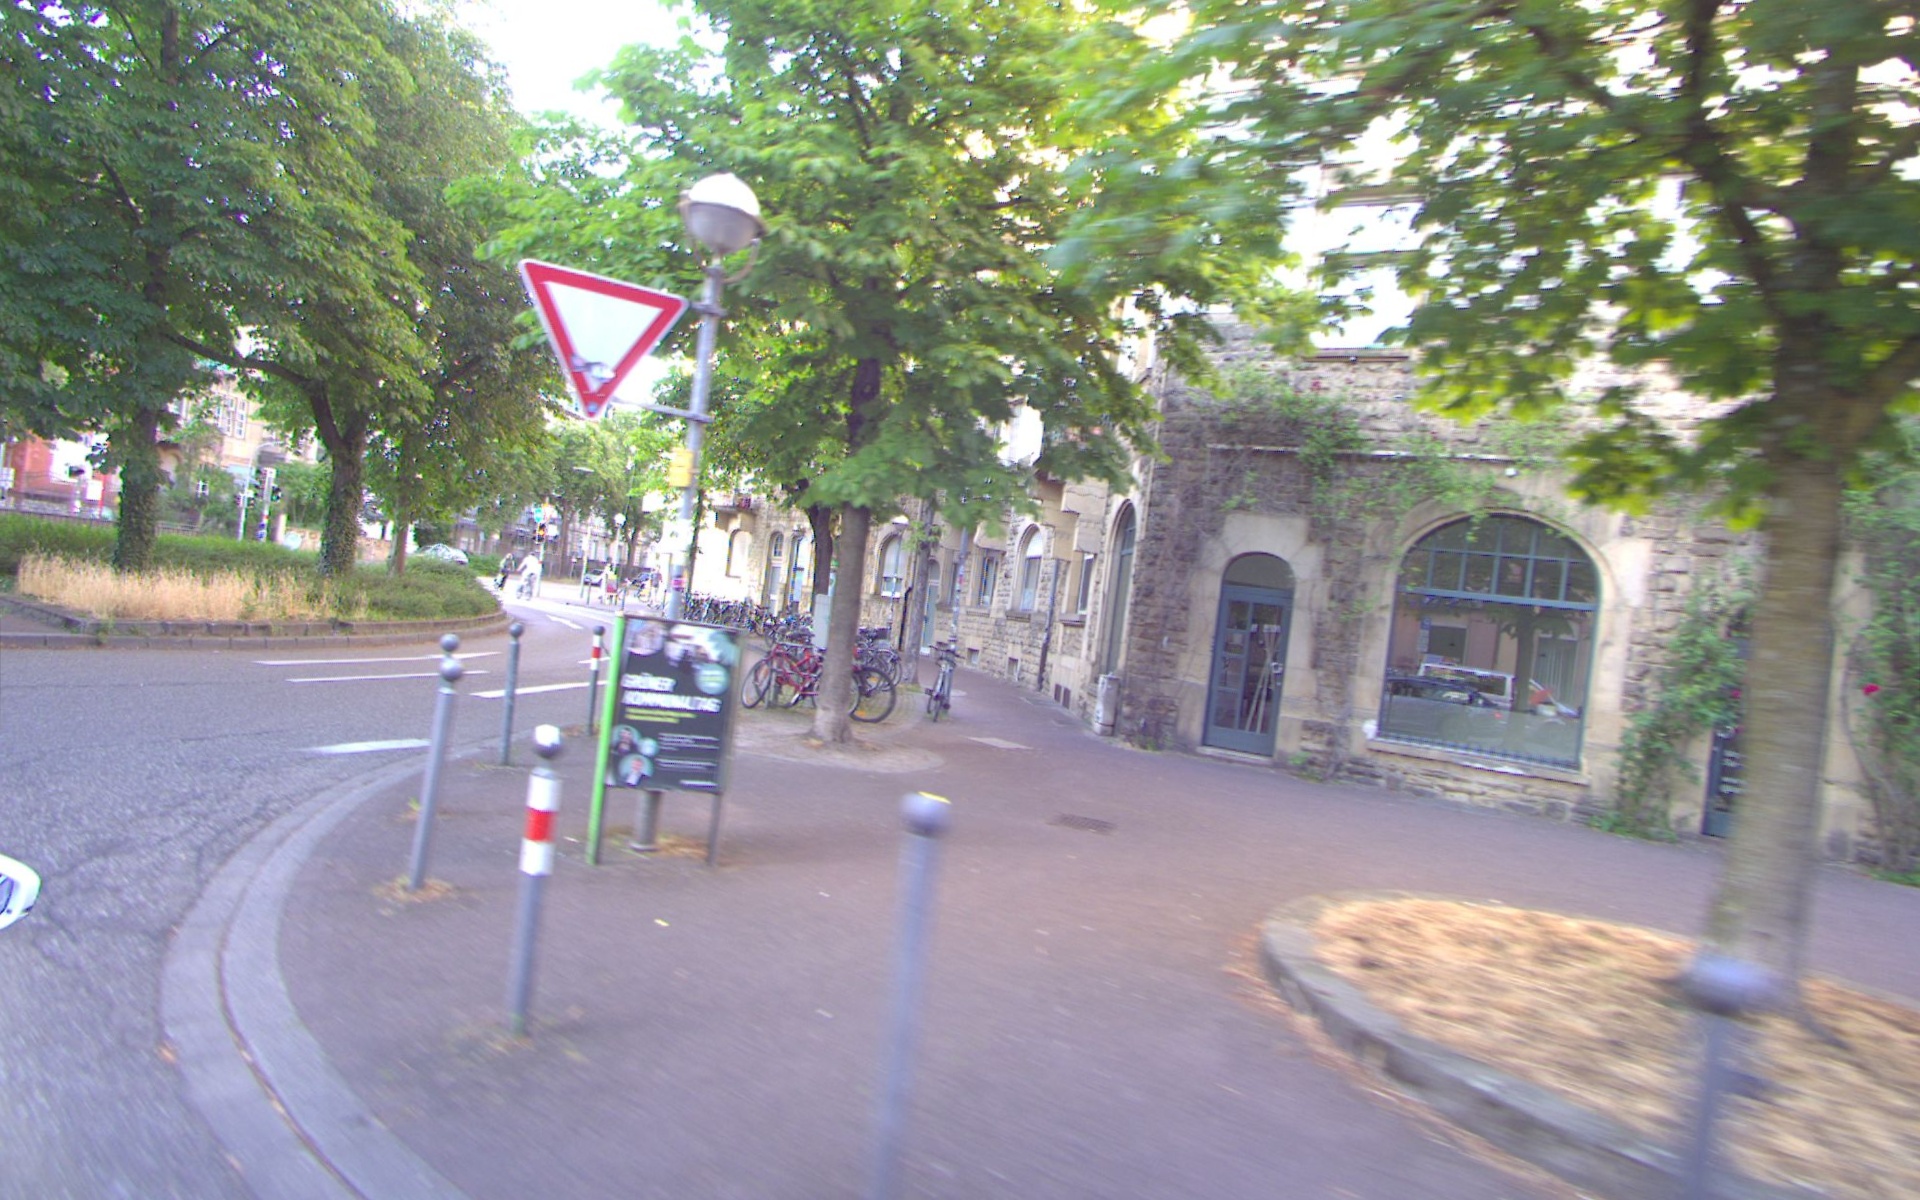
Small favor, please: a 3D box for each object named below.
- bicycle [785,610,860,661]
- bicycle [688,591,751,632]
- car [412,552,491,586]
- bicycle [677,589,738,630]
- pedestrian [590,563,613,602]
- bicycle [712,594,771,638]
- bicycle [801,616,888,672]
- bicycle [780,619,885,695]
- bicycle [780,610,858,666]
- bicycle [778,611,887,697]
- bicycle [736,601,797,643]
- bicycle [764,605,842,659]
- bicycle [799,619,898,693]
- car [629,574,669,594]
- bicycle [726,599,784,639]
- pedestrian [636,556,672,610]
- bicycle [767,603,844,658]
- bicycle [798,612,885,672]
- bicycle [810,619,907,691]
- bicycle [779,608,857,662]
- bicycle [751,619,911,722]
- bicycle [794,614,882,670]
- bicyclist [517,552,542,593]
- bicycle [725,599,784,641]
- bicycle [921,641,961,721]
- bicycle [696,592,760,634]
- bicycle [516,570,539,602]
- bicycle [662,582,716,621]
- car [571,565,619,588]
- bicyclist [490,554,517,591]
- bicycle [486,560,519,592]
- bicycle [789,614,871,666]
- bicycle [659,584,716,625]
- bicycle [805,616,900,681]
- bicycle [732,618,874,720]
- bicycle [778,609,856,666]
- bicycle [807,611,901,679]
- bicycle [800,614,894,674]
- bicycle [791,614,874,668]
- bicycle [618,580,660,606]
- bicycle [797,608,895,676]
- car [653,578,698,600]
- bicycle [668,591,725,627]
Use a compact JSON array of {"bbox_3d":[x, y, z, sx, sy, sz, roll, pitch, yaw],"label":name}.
[{"bbox_3d":[-3.591,0.945,26.372,1.842,1.117,0.567,8,0,-41],"label":"bicycle"},{"bbox_3d":[-8.157,0.394,34.140,1.874,1.176,0.635,8,0,-34],"label":"bicycle"},{"bbox_3d":[-30.634,-1.820,60.756,1.913,1.528,4.423,7,-1,10],"label":"car"},{"bbox_3d":[-8.680,0.338,34.665,1.880,1.176,0.632,8,0,-44],"label":"bicycle"},{"bbox_3d":[-17.690,-0.881,49.666,0.858,1.817,0.919,7,1,-22],"label":"pedestrian"},{"bbox_3d":[-7.030,0.522,32.355,1.655,1.144,0.482,7,6,-27],"label":"bicycle"},{"bbox_3d":[-2.612,0.988,22.737,1.826,1.026,0.418,7,0,-13],"label":"bicycle"},{"bbox_3d":[-2.087,0.937,16.563,1.579,1.033,0.554,7,0,-6],"label":"bicycle"},{"bbox_3d":[-3.513,0.962,25.140,1.828,1.095,0.421,8,-19,-18],"label":"bicycle"},{"bbox_3d":[-2.033,0.863,16.123,1.579,1.162,0.554,7,0,-6],"label":"bicycle"},{"bbox_3d":[-5.931,0.688,30.872,1.660,1.091,0.481,8,0,-35],"label":"bicycle"},{"bbox_3d":[-4.221,0.869,27.119,1.866,1.154,0.487,9,3,-31],"label":"bicycle"},{"bbox_3d":[-1.937,0.978,17.487,1.581,1.076,0.418,7,0,-10],"label":"bicycle"},{"bbox_3d":[-29.762,-1.493,96.364,1.913,1.500,4.172,7,-1,10],"label":"car"},{"bbox_3d":[-6.582,0.611,32.264,1.656,1.091,0.483,7,0,-28],"label":"bicycle"},{"bbox_3d":[-12.800,-0.699,42.026,1.003,2.112,1.051,6,1,-31],"label":"pedestrian"},{"bbox_3d":[-4.108,0.825,26.695,1.857,1.229,0.491,7,-6,-18],"label":"bicycle"},{"bbox_3d":[-2.720,0.958,23.043,1.826,1.130,0.418,7,0,-13],"label":"bicycle"},{"bbox_3d":[-1.815,0.976,17.892,1.581,1.089,0.418,7,0,-10],"label":"bicycle"},{"bbox_3d":[-3.636,0.912,25.810,1.828,1.158,0.417,7,0,-18],"label":"bicycle"},{"bbox_3d":[-1.633,0.887,12.813,1.863,1.052,0.432,7,0,6],"label":"bicycle"},{"bbox_3d":[-2.857,0.993,23.569,1.892,1.074,0.533,7,0,-17],"label":"bicycle"},{"bbox_3d":[-16.127,-1.024,37.656,0.691,1.428,0.860,7,0,-24],"label":"bicyclist"},{"bbox_3d":[-6.364,0.633,31.188,1.660,1.091,0.481,8,0,-35],"label":"bicycle"},{"bbox_3d":[-0.249,1.114,14.236,0.424,0.981,1.727,7,-1,0],"label":"bicycle"},{"bbox_3d":[-7.724,0.441,33.523,1.874,1.176,0.698,8,0,-34],"label":"bicycle"},{"bbox_3d":[-16.213,-0.531,37.726,0.691,1.067,1.783,7,0,-23],"label":"bicycle"},{"bbox_3d":[-10.127,0.072,37.638,0.642,1.251,1.783,7,0,44],"label":"bicycle"},{"bbox_3d":[-31.245,-1.976,86.312,1.972,1.443,4.635,7,-1,6],"label":"car"},{"bbox_3d":[-19.542,-1.183,43.064,0.688,1.479,0.782,7,0,-9],"label":"bicyclist"},{"bbox_3d":[-19.569,-1.002,43.071,0.688,1.251,1.860,7,0,-9],"label":"bicycle"},{"bbox_3d":[-3.130,0.969,24.294,1.828,1.012,0.417,7,0,-18],"label":"bicycle"},{"bbox_3d":[-9.884,0.161,36.491,1.782,1.251,0.691,8,0,-44],"label":"bicycle"},{"bbox_3d":[-2.182,0.979,20.351,1.768,1.076,0.446,7,0,-14],"label":"bicycle"},{"bbox_3d":[-1.937,0.843,12.473,1.577,1.052,0.432,7,0,6],"label":"bicycle"},{"bbox_3d":[-3.602,0.952,25.401,1.828,1.133,0.421,7,-19,-18],"label":"bicycle"},{"bbox_3d":[-2.197,0.925,20.762,1.768,1.182,0.446,7,0,-14],"label":"bicycle"},{"bbox_3d":[-2.491,0.971,22.199,1.892,1.078,0.551,7,0,-16],"label":"bicycle"},{"bbox_3d":[-3.041,0.985,24.018,1.828,1.064,0.417,7,0,-18],"label":"bicycle"},{"bbox_3d":[-16.600,-0.361,52.070,1.858,1.144,0.726,8,0,-30],"label":"bicycle"},{"bbox_3d":[-2.435,0.901,21.455,1.892,1.214,0.550,7,0,-16],"label":"bicycle"},{"bbox_3d":[-25.681,-0.977,90.955,1.913,1.528,4.636,7,-1,10],"label":"car"},{"bbox_3d":[-9.371,0.316,35.815,1.796,1.051,0.691,8,-1,-44],"label":"bicycle"}]
